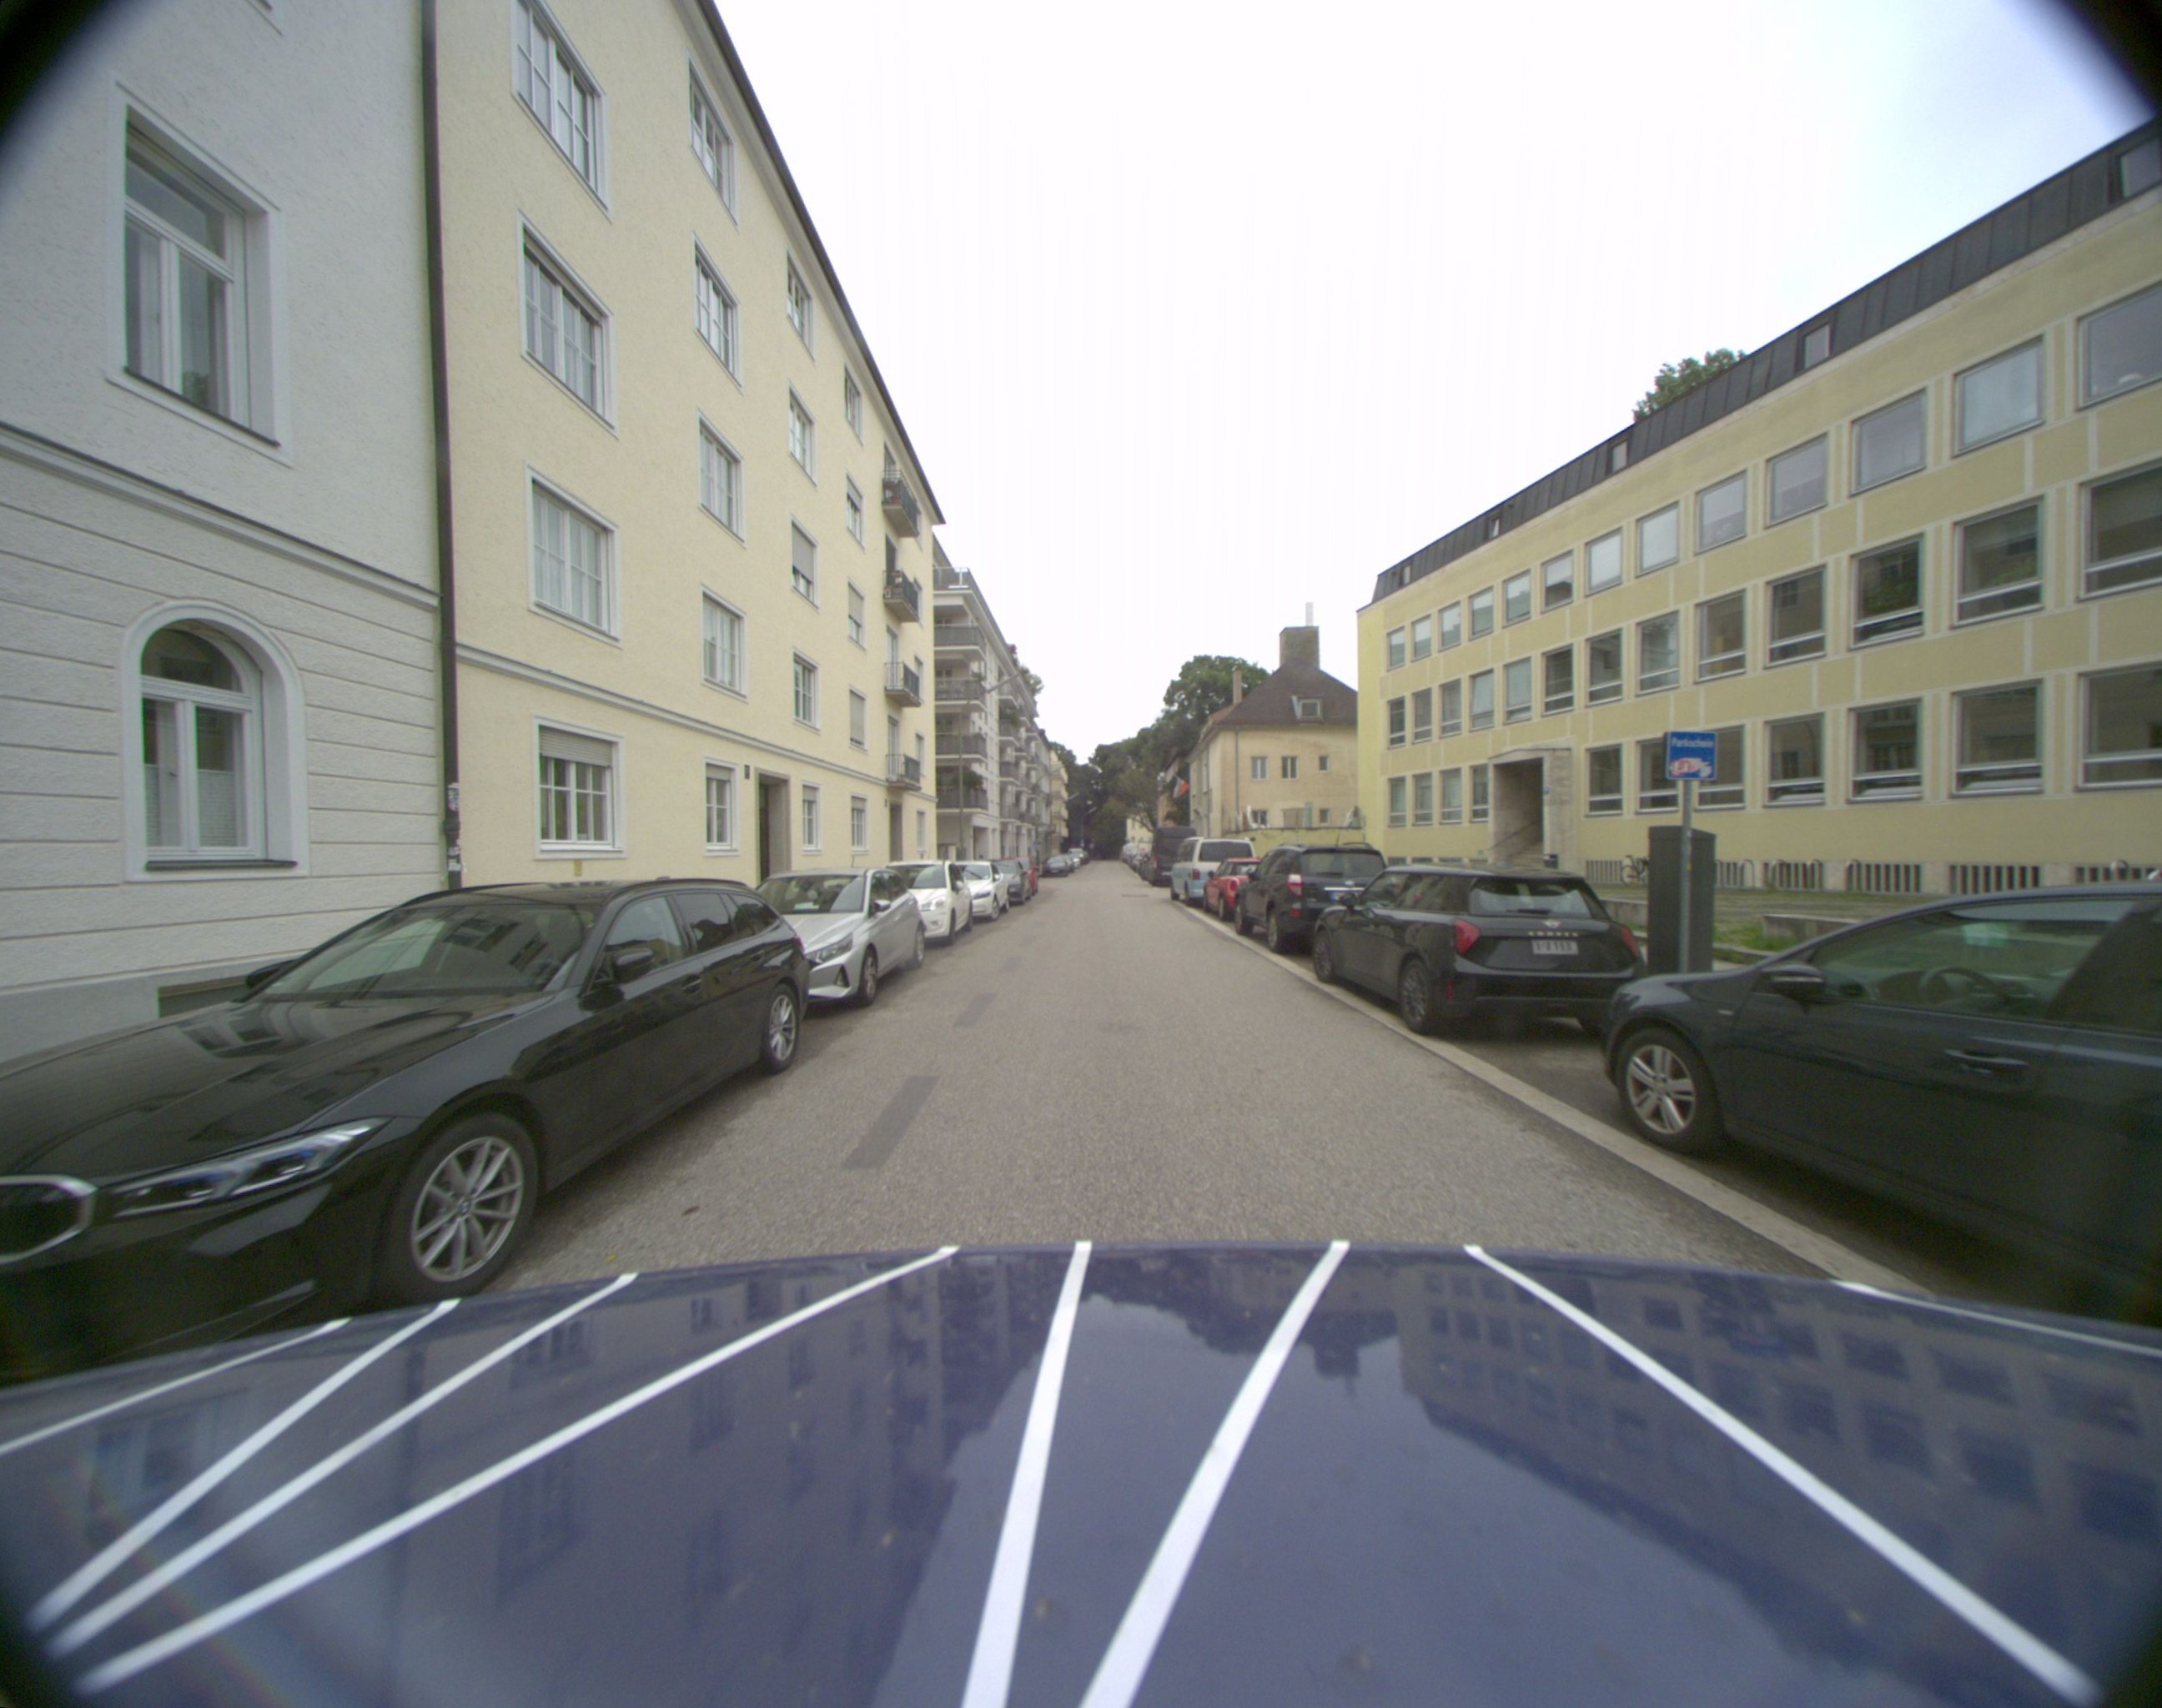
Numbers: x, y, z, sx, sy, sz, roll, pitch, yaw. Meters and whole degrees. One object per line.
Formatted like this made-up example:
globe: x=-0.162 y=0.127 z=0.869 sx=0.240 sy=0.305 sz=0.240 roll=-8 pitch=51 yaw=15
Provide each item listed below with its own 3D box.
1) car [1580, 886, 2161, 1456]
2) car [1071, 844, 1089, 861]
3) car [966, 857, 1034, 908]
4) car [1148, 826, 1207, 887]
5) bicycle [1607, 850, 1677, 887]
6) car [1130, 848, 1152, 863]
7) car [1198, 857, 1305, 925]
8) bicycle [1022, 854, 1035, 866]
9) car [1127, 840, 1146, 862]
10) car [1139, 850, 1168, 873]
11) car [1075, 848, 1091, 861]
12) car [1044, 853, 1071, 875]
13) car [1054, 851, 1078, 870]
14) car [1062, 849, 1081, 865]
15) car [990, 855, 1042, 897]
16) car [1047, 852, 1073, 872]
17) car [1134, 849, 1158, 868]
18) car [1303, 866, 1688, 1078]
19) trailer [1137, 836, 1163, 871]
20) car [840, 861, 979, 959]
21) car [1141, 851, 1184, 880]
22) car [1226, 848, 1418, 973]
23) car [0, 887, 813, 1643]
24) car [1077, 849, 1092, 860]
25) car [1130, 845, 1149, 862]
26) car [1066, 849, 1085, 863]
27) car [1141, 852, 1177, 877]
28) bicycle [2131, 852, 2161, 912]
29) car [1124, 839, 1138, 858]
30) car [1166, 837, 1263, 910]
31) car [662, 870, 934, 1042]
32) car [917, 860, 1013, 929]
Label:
car: x=3.781 y=0.931 z=2.409 sx=1.661 sy=1.445 sz=3.973 roll=1 pitch=0 yaw=-2
car: x=-0.135 y=-0.195 z=89.955 sx=1.871 sy=2.002 sz=4.268 roll=-1 pitch=1 yaw=3
car: x=-2.525 y=0.847 z=24.601 sx=1.683 sy=1.402 sz=4.421 roll=-1 pitch=1 yaw=0
car: x=4.454 y=0.080 z=36.001 sx=2.302 sy=2.630 sz=5.654 roll=0 pitch=1 yaw=3
bicycle: x=16.684 y=0.411 z=22.597 sx=1.954 sy=1.008 sz=0.580 roll=-2 pitch=1 yaw=-16
car: x=5.821 y=0.137 z=74.195 sx=1.818 sy=1.444 sz=3.927 roll=-1 pitch=1 yaw=1
car: x=3.956 y=0.801 z=18.271 sx=1.748 sy=1.379 sz=3.918 roll=-2 pitch=0 yaw=1
bicycle: x=-4.658 y=0.536 z=67.401 sx=0.580 sy=1.008 sz=1.955 roll=-2 pitch=1 yaw=14
car: x=6.591 y=-0.371 z=90.606 sx=2.104 sy=2.418 sz=4.550 roll=-1 pitch=1 yaw=4
car: x=4.934 y=0.496 z=52.102 sx=1.817 sy=1.491 sz=4.644 roll=0 pitch=1 yaw=3
car: x=0.248 y=0.052 z=95.586 sx=1.871 sy=1.455 sz=4.268 roll=-1 pitch=1 yaw=3
car: x=-1.631 y=0.683 z=53.443 sx=1.784 sy=1.386 sz=4.245 roll=-1 pitch=1 yaw=-2
car: x=-1.222 y=0.531 z=62.856 sx=1.766 sy=1.449 sz=3.747 roll=-1 pitch=1 yaw=1
car: x=-0.895 y=0.250 z=74.745 sx=1.766 sy=1.449 sz=3.747 roll=-1 pitch=1 yaw=1
car: x=-2.491 y=0.807 z=30.006 sx=1.683 sy=1.489 sz=3.823 roll=-1 pitch=1 yaw=0
car: x=-1.585 y=0.581 z=58.198 sx=1.766 sy=1.449 sz=3.417 roll=-1 pitch=1 yaw=1
car: x=5.352 y=0.318 z=63.176 sx=1.767 sy=1.505 sz=3.842 roll=0 pitch=1 yaw=2
car: x=3.596 y=0.897 z=7.497 sx=1.684 sy=1.445 sz=3.869 roll=1 pitch=0 yaw=0
trailer: x=5.262 y=-0.088 z=57.712 sx=1.817 sy=2.521 sz=3.390 roll=3 pitch=1 yaw=6
car: x=-3.065 y=0.924 z=14.409 sx=1.683 sy=1.473 sz=4.166 roll=-1 pitch=1 yaw=0
car: x=4.374 y=0.595 z=41.201 sx=1.706 sy=1.485 sz=3.488 roll=-1 pitch=1 yaw=-3
car: x=3.755 y=0.758 z=12.709 sx=1.748 sy=1.656 sz=4.448 roll=2 pitch=1 yaw=0
car: x=-2.978 y=1.011 z=3.843 sx=1.683 sy=1.419 sz=4.390 roll=-1 pitch=1 yaw=0
car: x=0.537 y=0.107 z=105.733 sx=1.871 sy=1.455 sz=4.268 roll=-1 pitch=1 yaw=3
car: x=6.126 y=-0.117 z=80.125 sx=1.817 sy=1.724 sz=3.649 roll=-1 pitch=1 yaw=2
car: x=-0.576 y=0.164 z=81.294 sx=1.765 sy=1.449 sz=3.748 roll=-1 pitch=1 yaw=4
car: x=4.639 y=0.594 z=45.812 sx=1.697 sy=1.417 sz=4.069 roll=0 pitch=1 yaw=-1
bicycle: x=19.269 y=0.457 z=13.047 sx=1.953 sy=1.008 sz=0.625 roll=-1 pitch=1 yaw=-9
car: x=7.056 y=-0.750 z=106.917 sx=1.880 sy=2.539 sz=4.370 roll=-1 pitch=1 yaw=3
car: x=3.867 y=0.498 z=22.968 sx=1.933 sy=1.967 sz=5.021 roll=0 pitch=1 yaw=-1
car: x=-3.016 y=0.988 z=9.109 sx=1.683 sy=1.419 sz=4.166 roll=-1 pitch=1 yaw=0
car: x=-2.765 y=0.913 z=19.053 sx=1.683 sy=1.402 sz=4.442 roll=-1 pitch=1 yaw=0
